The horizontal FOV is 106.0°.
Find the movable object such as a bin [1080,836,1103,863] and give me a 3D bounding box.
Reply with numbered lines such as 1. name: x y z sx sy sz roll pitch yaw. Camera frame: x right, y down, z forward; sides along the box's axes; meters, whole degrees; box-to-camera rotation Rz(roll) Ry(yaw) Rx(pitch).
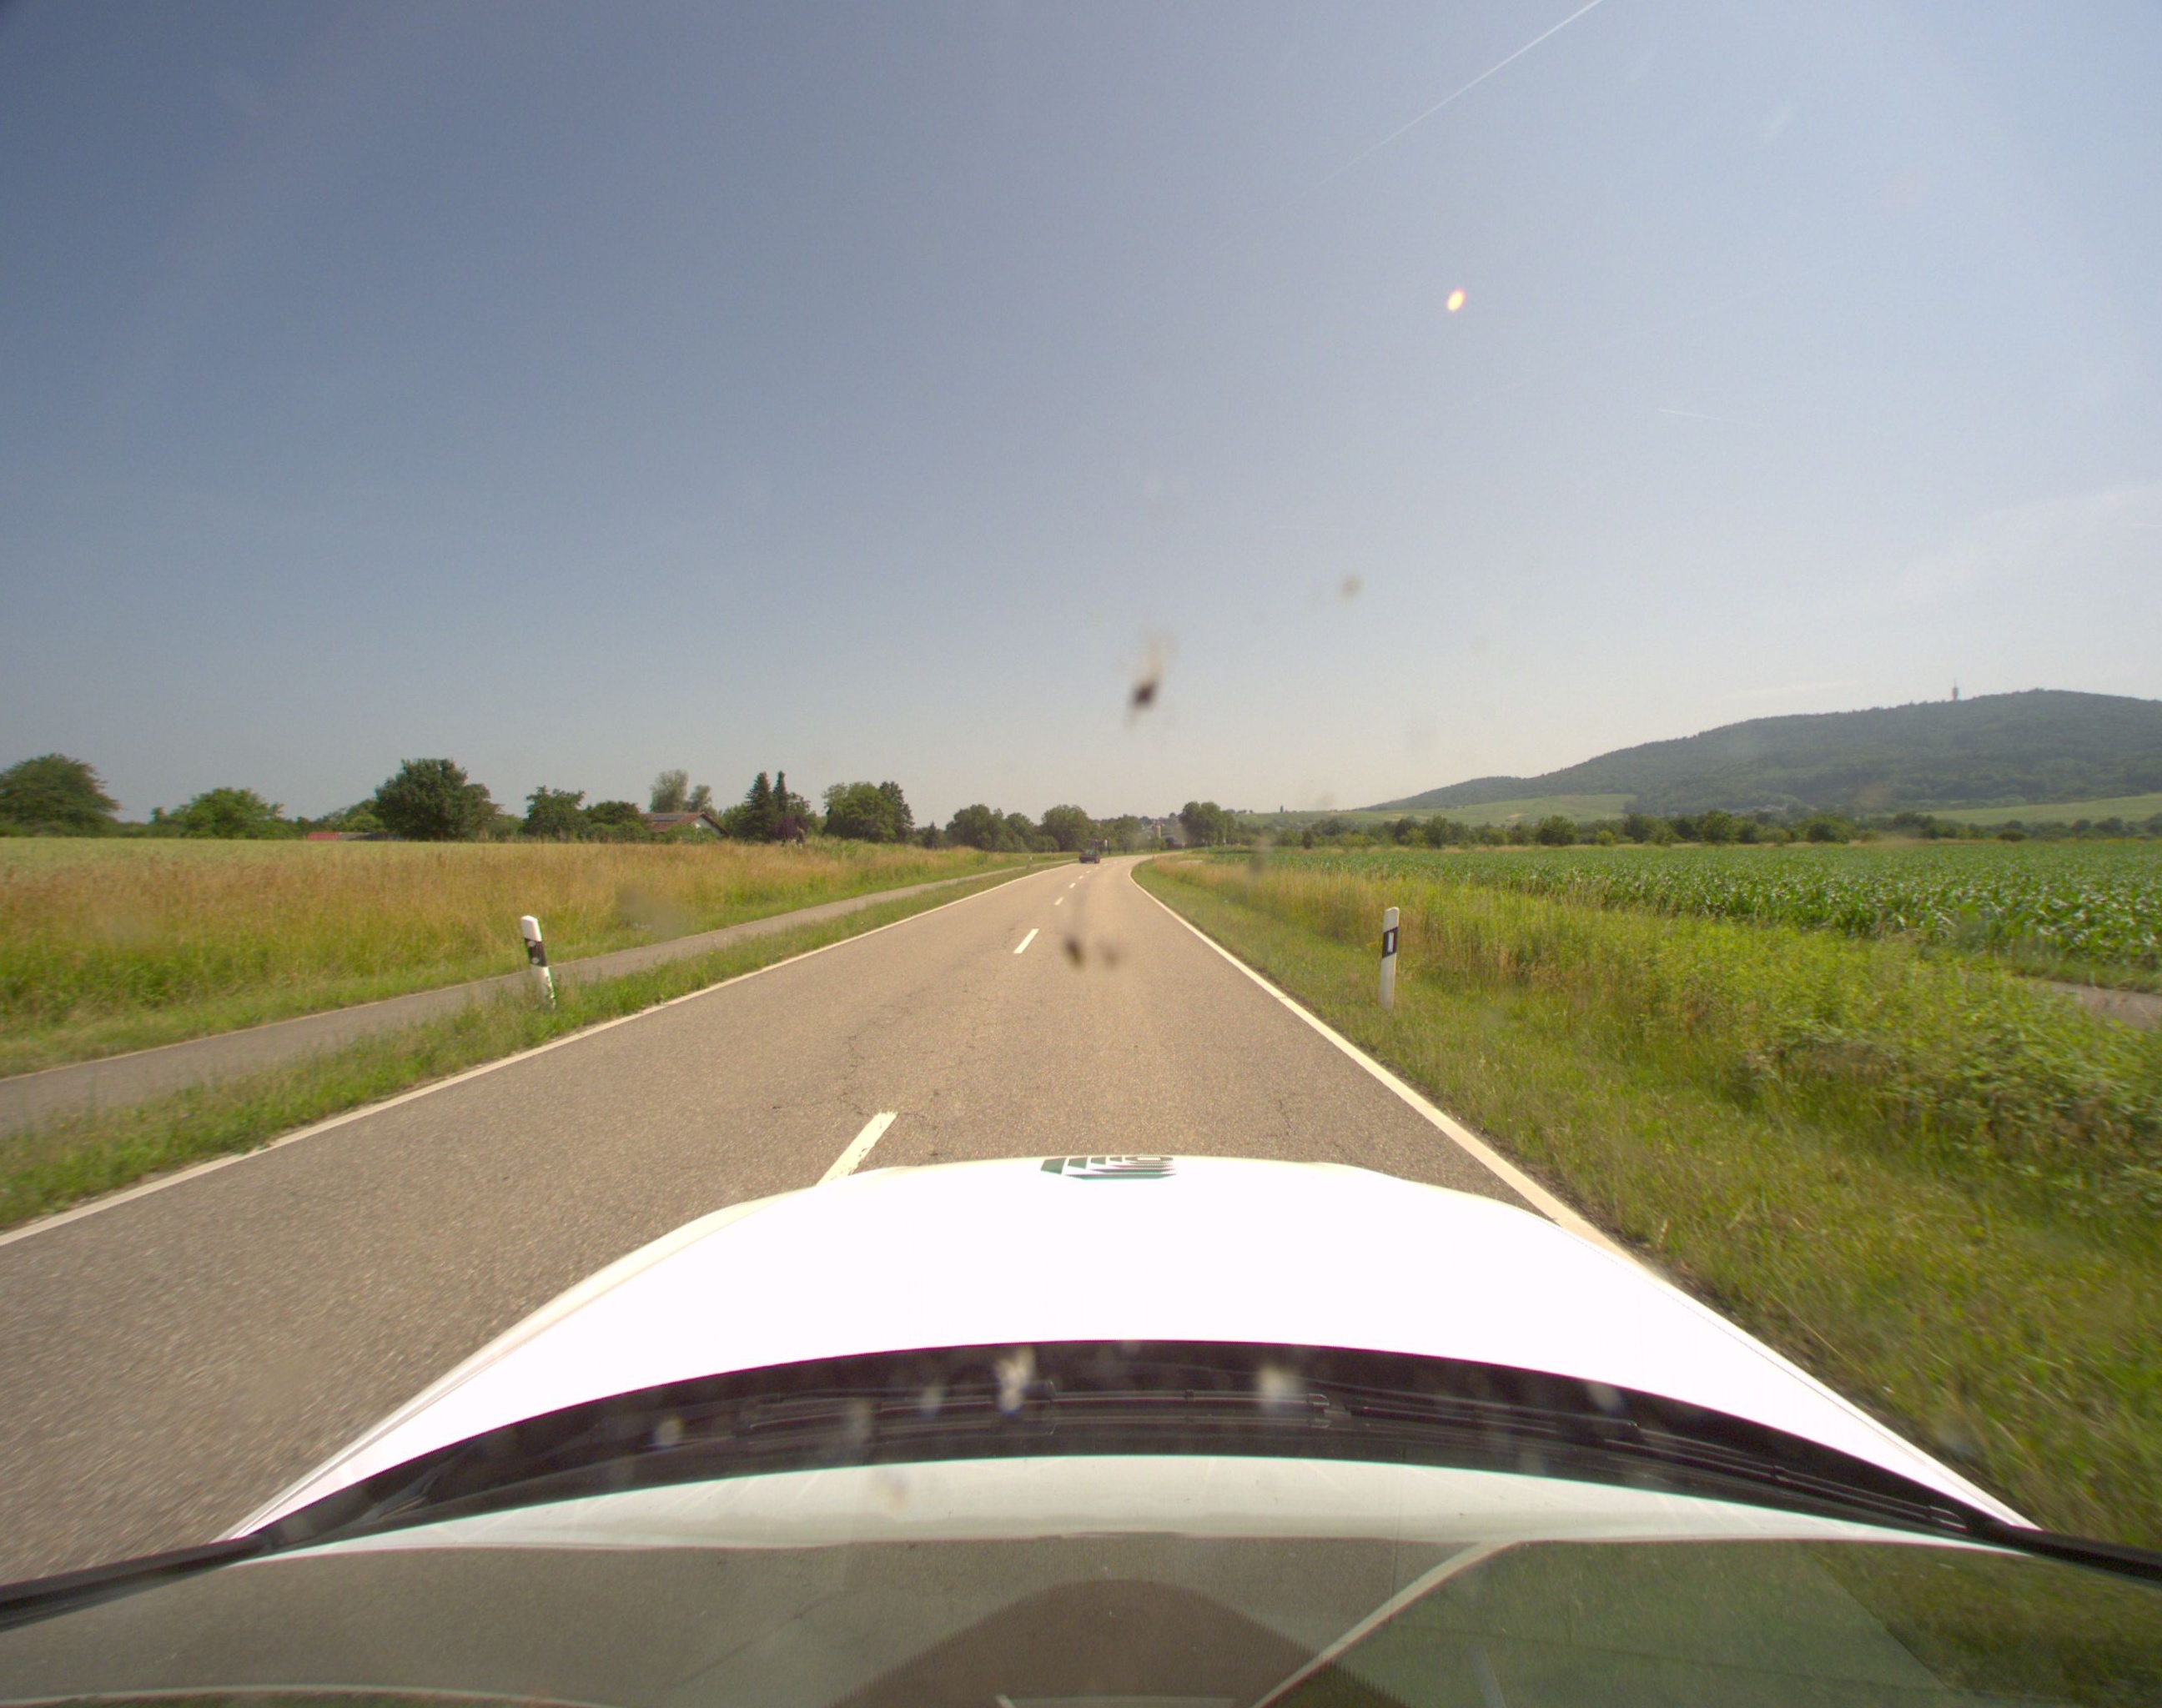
1. movable object such as a bin: 1.146 -0.487 89.332 1.991 2.754 5.238 2 1 5
